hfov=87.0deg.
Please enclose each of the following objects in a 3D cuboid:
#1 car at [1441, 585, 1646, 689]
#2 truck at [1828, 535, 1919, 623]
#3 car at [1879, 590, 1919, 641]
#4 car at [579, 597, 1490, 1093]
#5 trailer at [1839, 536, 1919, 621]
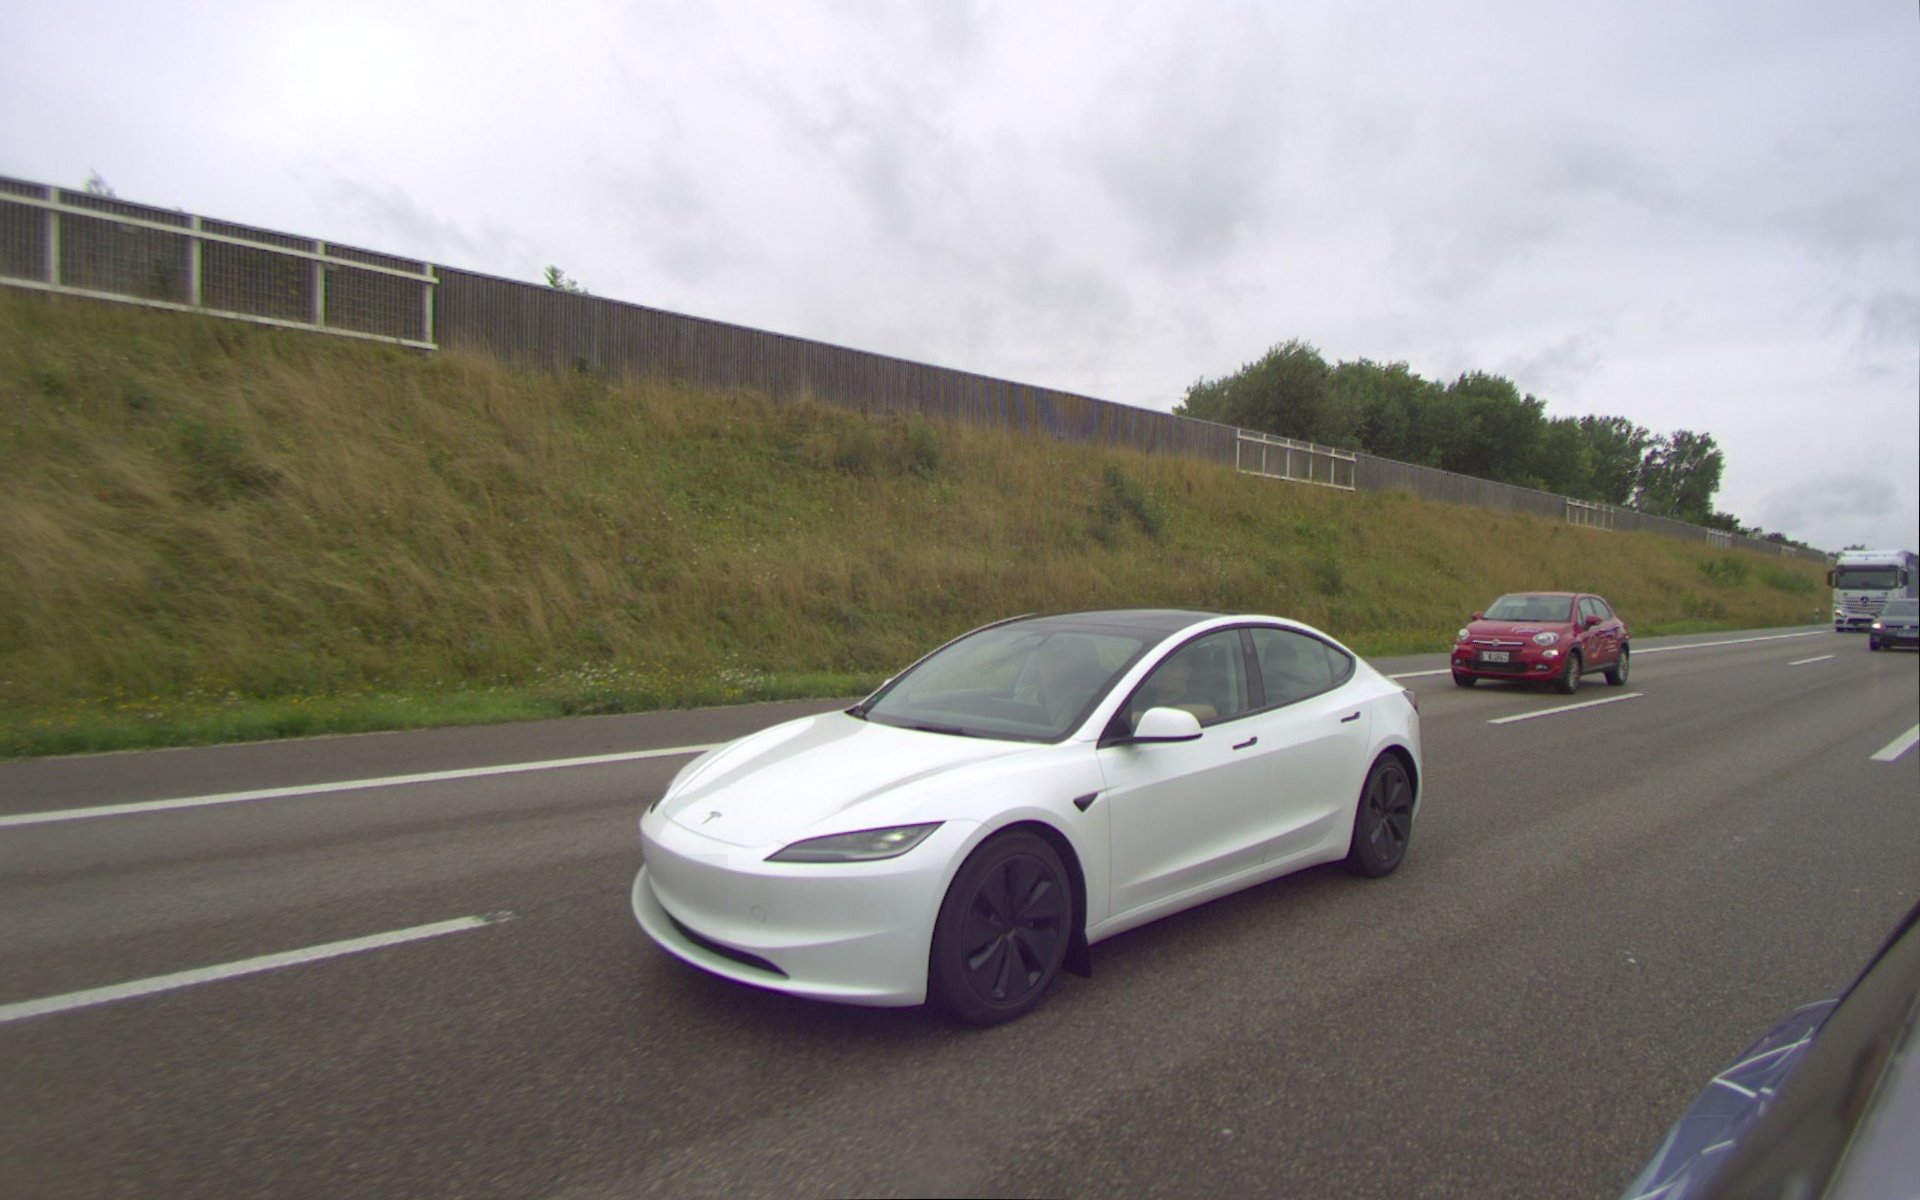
[{"bbox_3d":[9.928,0.526,17.118,3.931,1.554,1.876,-1,1,-42],"label":"car"},{"bbox_3d":[45.687,-1.028,50.208,6.837,4.077,3.086,-1,0,-42],"label":"truck"},{"bbox_3d":[30.207,0.438,31.459,4.407,1.507,1.927,-1,1,-41],"label":"car"},{"bbox_3d":[0.758,0.692,5.167,4.729,1.380,1.877,-1,1,-41],"label":"car"},{"bbox_3d":[51.041,-1.122,55.013,14.960,4.077,3.086,-1,0,-42],"label":"trailer"}]
